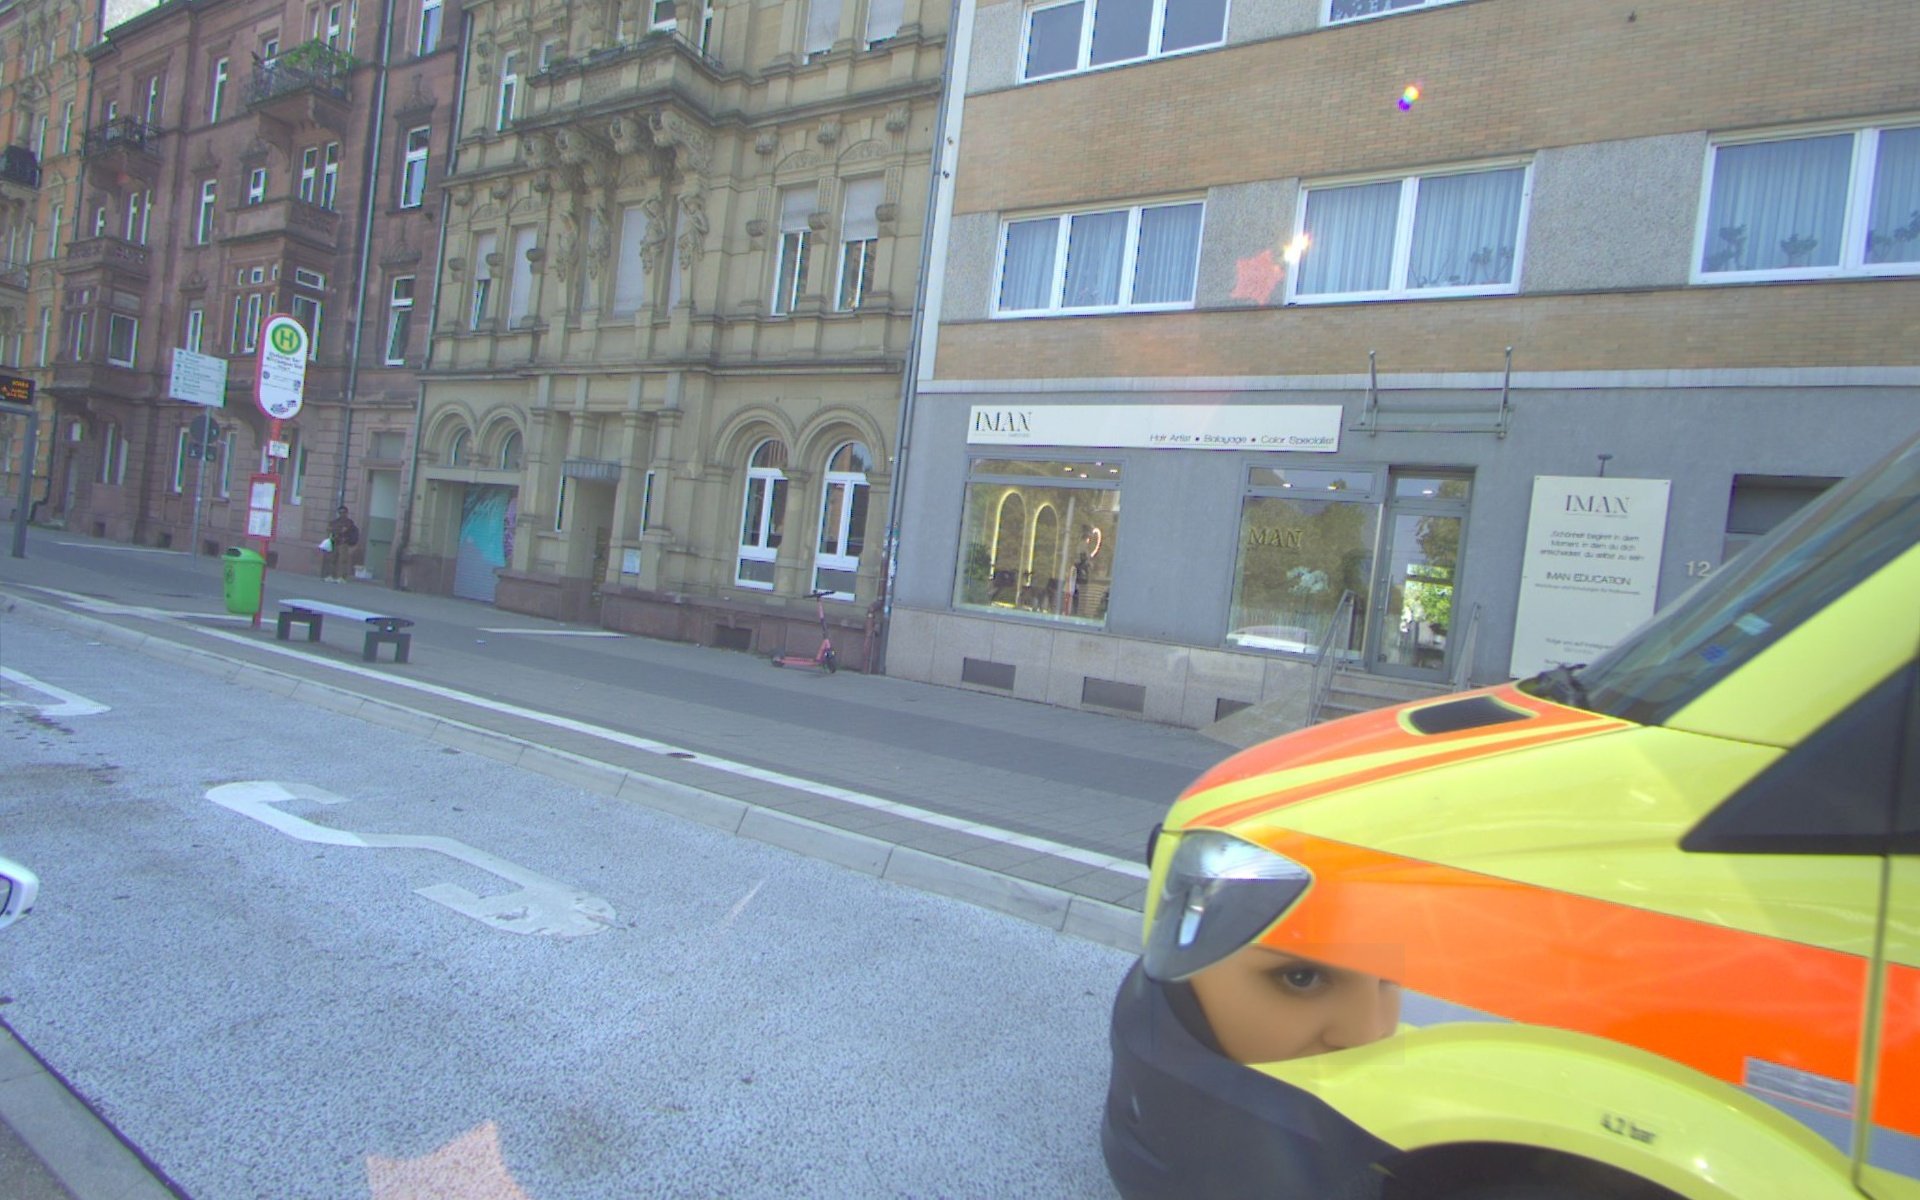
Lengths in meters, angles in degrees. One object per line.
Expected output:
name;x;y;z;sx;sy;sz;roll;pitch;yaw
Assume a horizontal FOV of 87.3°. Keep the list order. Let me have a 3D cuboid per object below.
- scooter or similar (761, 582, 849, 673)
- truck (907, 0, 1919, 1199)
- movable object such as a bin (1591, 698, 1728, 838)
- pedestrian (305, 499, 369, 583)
scooter or similar;-2.330;0.414;15.130;1.122;1.228;0.476;7;1;26
truck;3.201;0.379;1.021;6.237;2.807;2.327;7;3;34
movable object such as a bin;6.579;1.564;9.495;0.715;1.119;0.646;7;2;6
pedestrian;-14.312;-1.333;23.134;0.729;1.800;0.870;7;1;4
